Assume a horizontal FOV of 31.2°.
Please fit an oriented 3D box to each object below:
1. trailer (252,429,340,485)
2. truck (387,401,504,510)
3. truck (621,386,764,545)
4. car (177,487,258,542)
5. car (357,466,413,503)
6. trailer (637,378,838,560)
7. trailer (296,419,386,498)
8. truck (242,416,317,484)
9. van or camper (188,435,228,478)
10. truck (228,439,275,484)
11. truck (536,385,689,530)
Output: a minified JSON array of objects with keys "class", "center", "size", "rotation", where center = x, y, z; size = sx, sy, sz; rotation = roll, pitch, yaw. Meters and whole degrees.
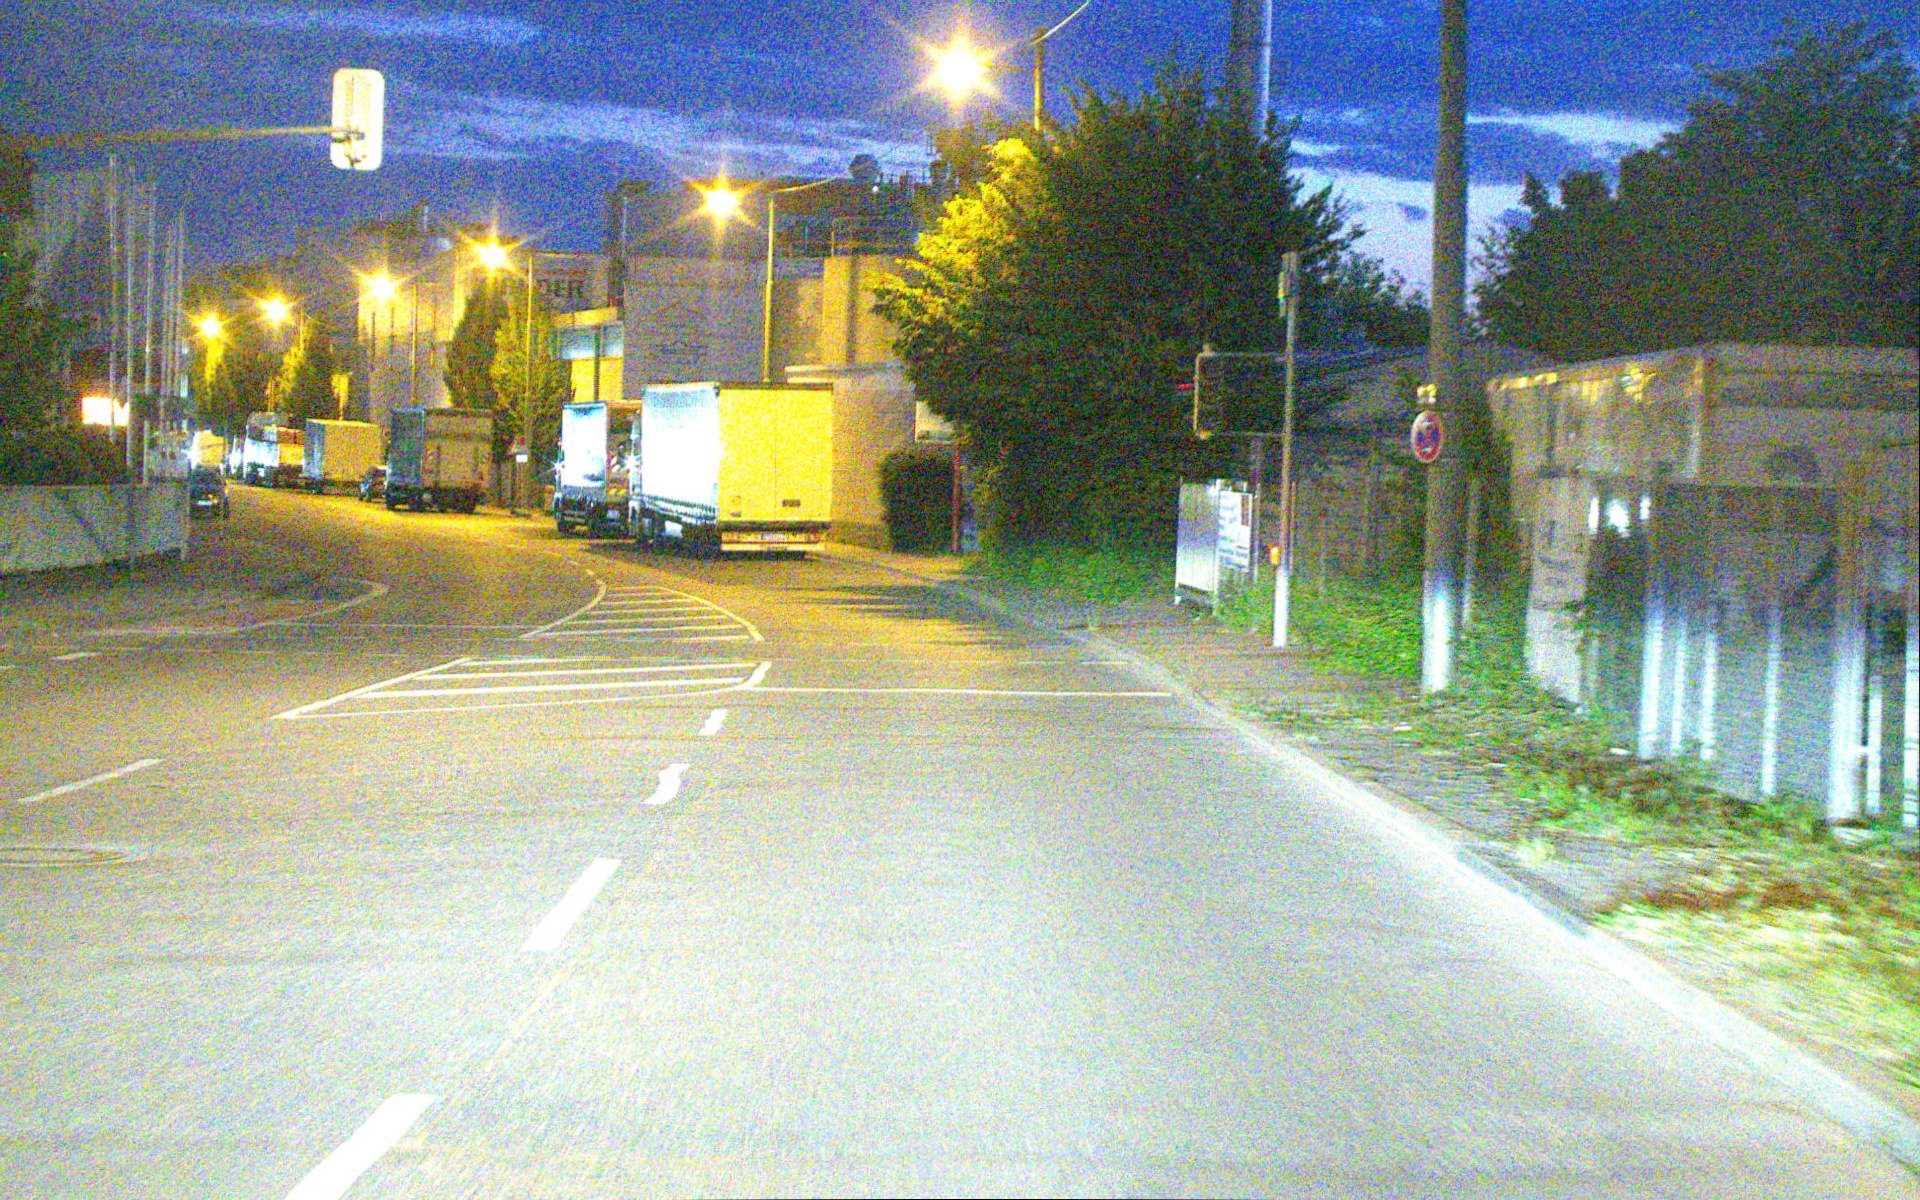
[{"class":"trailer","center":[-33.717,-7.251,174.254],"size":[3.183,2.739,10.719],"rotation":[0,2,-17]},{"class":"truck","center":[-19.771,-5.524,131.622],"size":[3.519,3.969,10.346],"rotation":[0,2,-14]},{"class":"truck","center":[-7.007,-3.487,89.314],"size":[2.829,3.969,6.052],"rotation":[0,2,-13]},{"class":"car","center":[-24.047,-2.788,111.211],"size":[1.993,1.630,4.776],"rotation":[2,2,-19]},{"class":"car","center":[-24.558,-4.943,146.706],"size":[1.852,1.513,3.820],"rotation":[0,2,-17]},{"class":"trailer","center":[-5.537,-3.146,82.553],"size":[2.808,3.969,13.980],"rotation":[0,2,-12]},{"class":"trailer","center":[-28.632,-6.547,158.748],"size":[2.686,3.452,7.812],"rotation":[2,2,-20]},{"class":"truck","center":[-35.872,-7.897,181.045],"size":[3.150,3.451,6.676],"rotation":[0,2,-17]},{"class":"van or camper","center":[-46.636,-8.915,213.152],"size":[1.993,2.572,4.917],"rotation":[2,2,-17]},{"class":"truck","center":[-39.701,-7.750,192.621],"size":[1.993,2.399,5.295],"rotation":[1,2,-18]},{"class":"truck","center":[-10.162,-4.115,99.519],"size":[2.829,3.969,10.346],"rotation":[0,2,-15]}]
